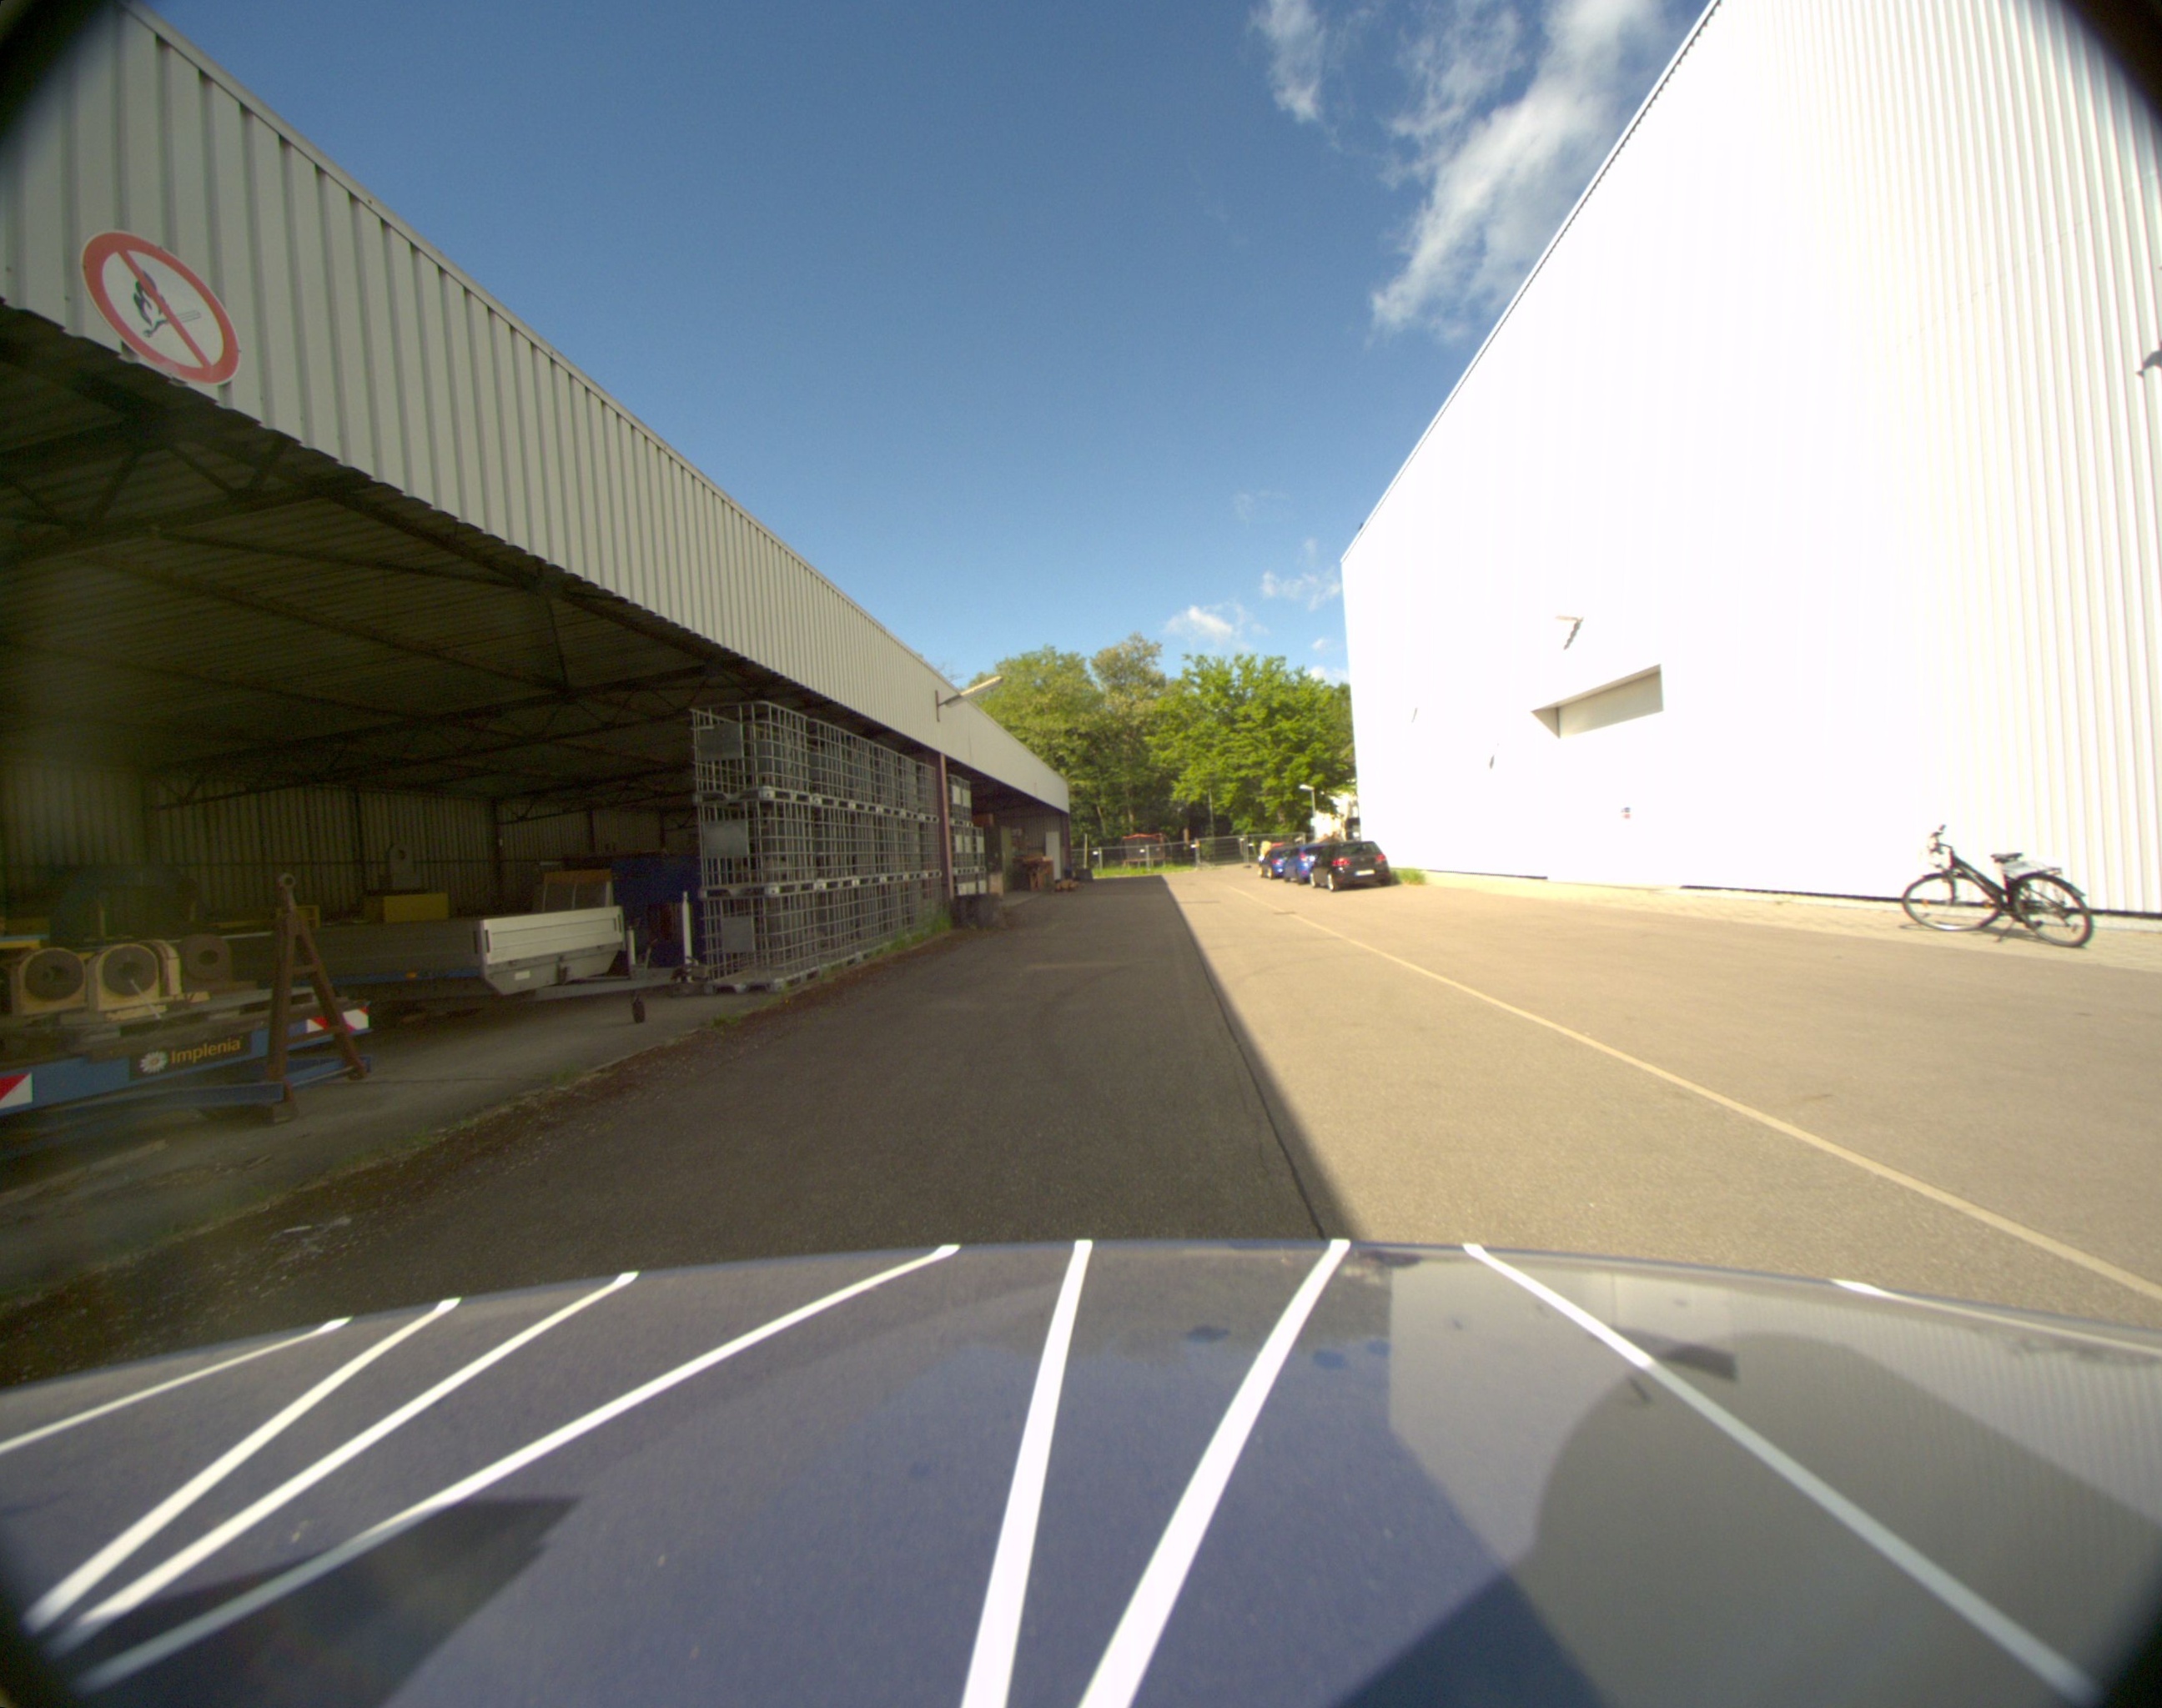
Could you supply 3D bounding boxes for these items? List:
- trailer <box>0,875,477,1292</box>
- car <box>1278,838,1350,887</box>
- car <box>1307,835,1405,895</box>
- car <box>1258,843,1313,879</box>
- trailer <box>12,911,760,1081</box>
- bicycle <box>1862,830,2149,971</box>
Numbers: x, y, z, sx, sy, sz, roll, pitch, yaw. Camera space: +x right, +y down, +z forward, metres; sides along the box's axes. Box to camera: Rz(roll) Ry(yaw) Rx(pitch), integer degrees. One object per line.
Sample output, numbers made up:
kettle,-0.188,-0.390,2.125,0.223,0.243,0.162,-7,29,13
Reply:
trailer,-6.609,1.084,4.261,4.878,1.619,2.030,-3,1,4
car,8.760,0.281,28.839,1.789,1.513,4.002,-7,0,7
car,8.417,0.293,23.615,1.894,1.513,4.002,-7,0,7
car,9.156,0.284,34.349,1.789,1.431,4.002,-3,0,7
trailer,-6.576,1.337,7.624,5.835,1.113,2.030,-3,0,4
bicycle,9.022,0.399,7.573,0.908,1.136,1.902,-7,0,20
